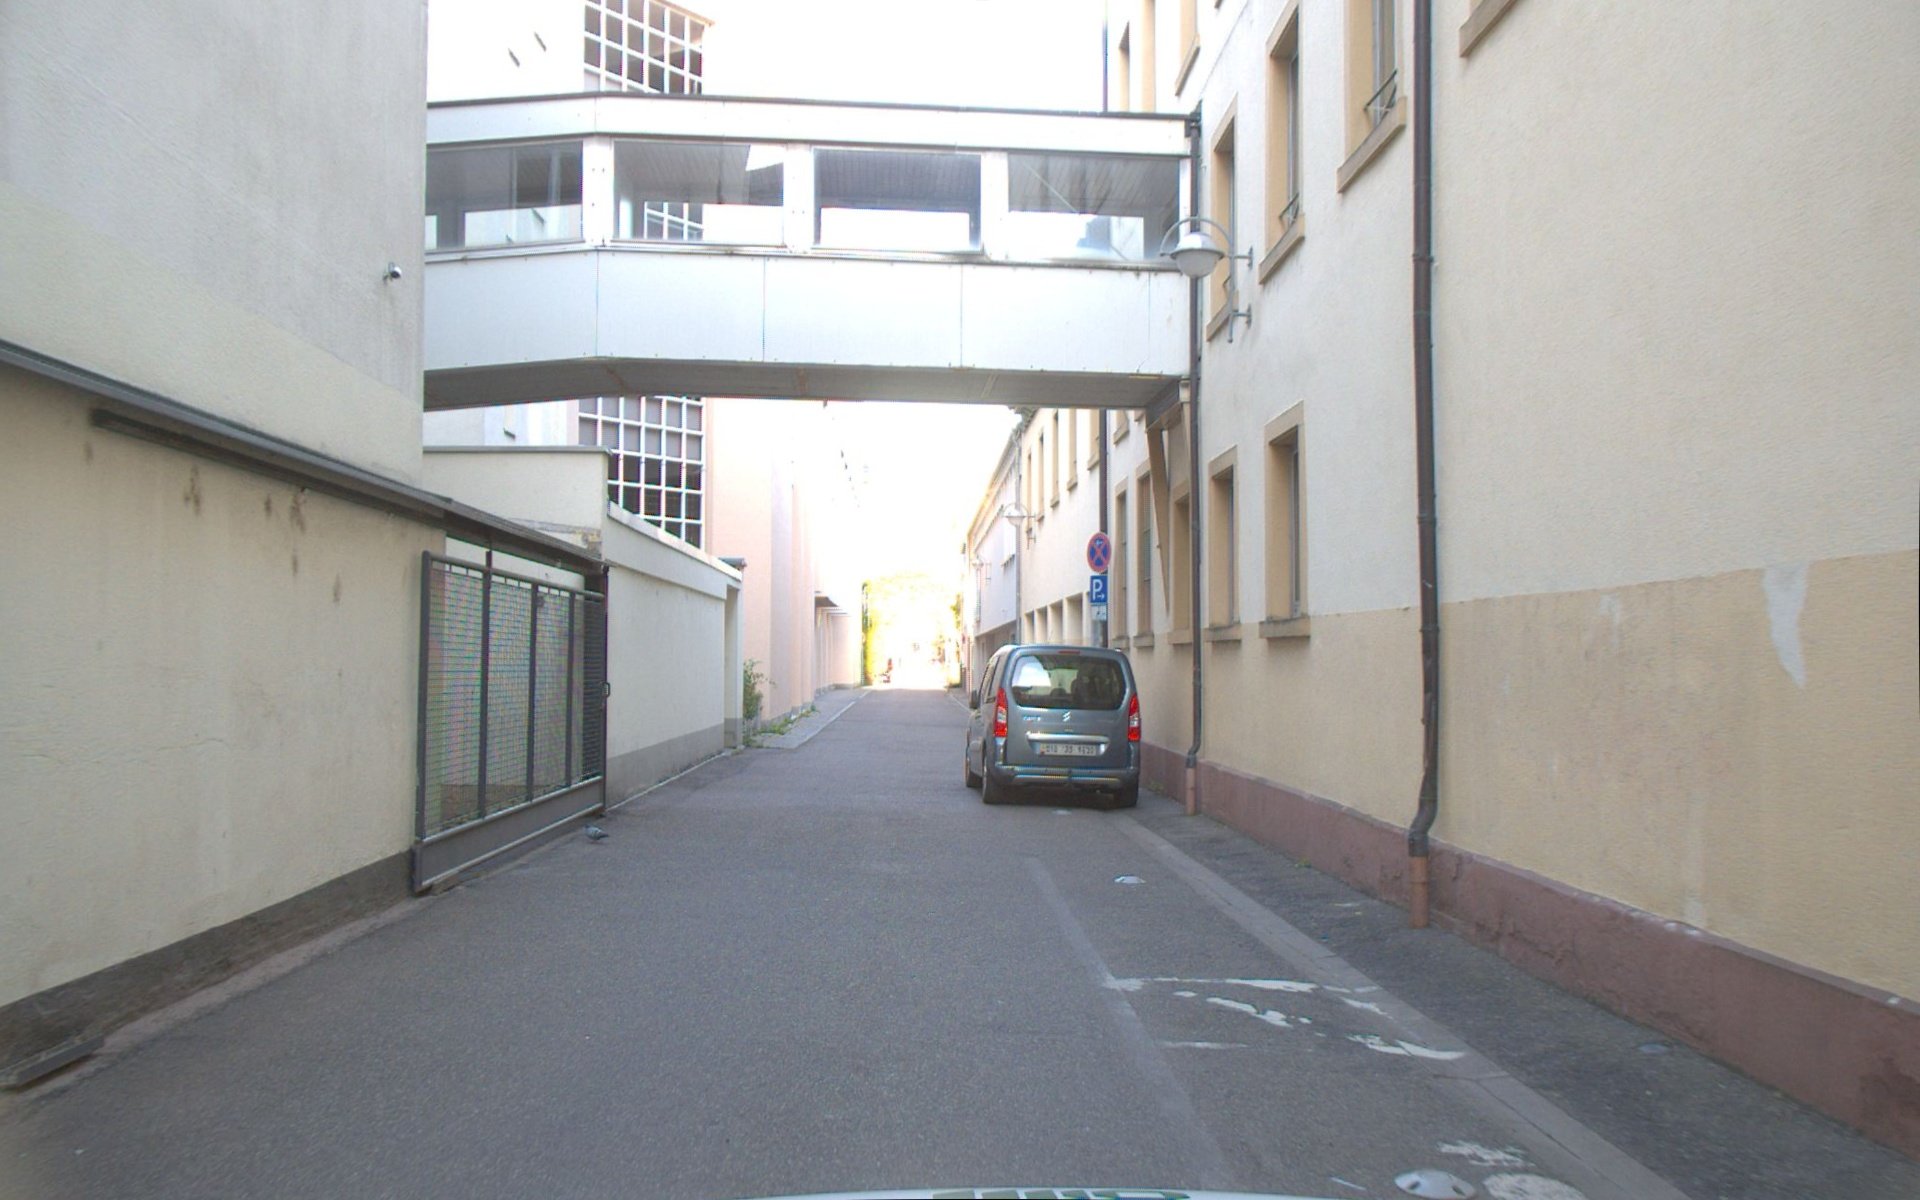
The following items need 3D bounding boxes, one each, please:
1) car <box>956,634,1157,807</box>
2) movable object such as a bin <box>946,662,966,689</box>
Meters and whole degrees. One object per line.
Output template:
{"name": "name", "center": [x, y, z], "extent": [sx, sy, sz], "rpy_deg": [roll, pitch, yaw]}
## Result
{"name": "car", "center": [1.055, 1.415, 20.115], "extent": [1.819, 1.787, 4.157], "rpy_deg": [3, -3, -4]}
{"name": "movable object such as a bin", "center": [-0.208, 4.199, 92.371], "extent": [1.084, 1.461, 1.413], "rpy_deg": [0, 0, -2]}
